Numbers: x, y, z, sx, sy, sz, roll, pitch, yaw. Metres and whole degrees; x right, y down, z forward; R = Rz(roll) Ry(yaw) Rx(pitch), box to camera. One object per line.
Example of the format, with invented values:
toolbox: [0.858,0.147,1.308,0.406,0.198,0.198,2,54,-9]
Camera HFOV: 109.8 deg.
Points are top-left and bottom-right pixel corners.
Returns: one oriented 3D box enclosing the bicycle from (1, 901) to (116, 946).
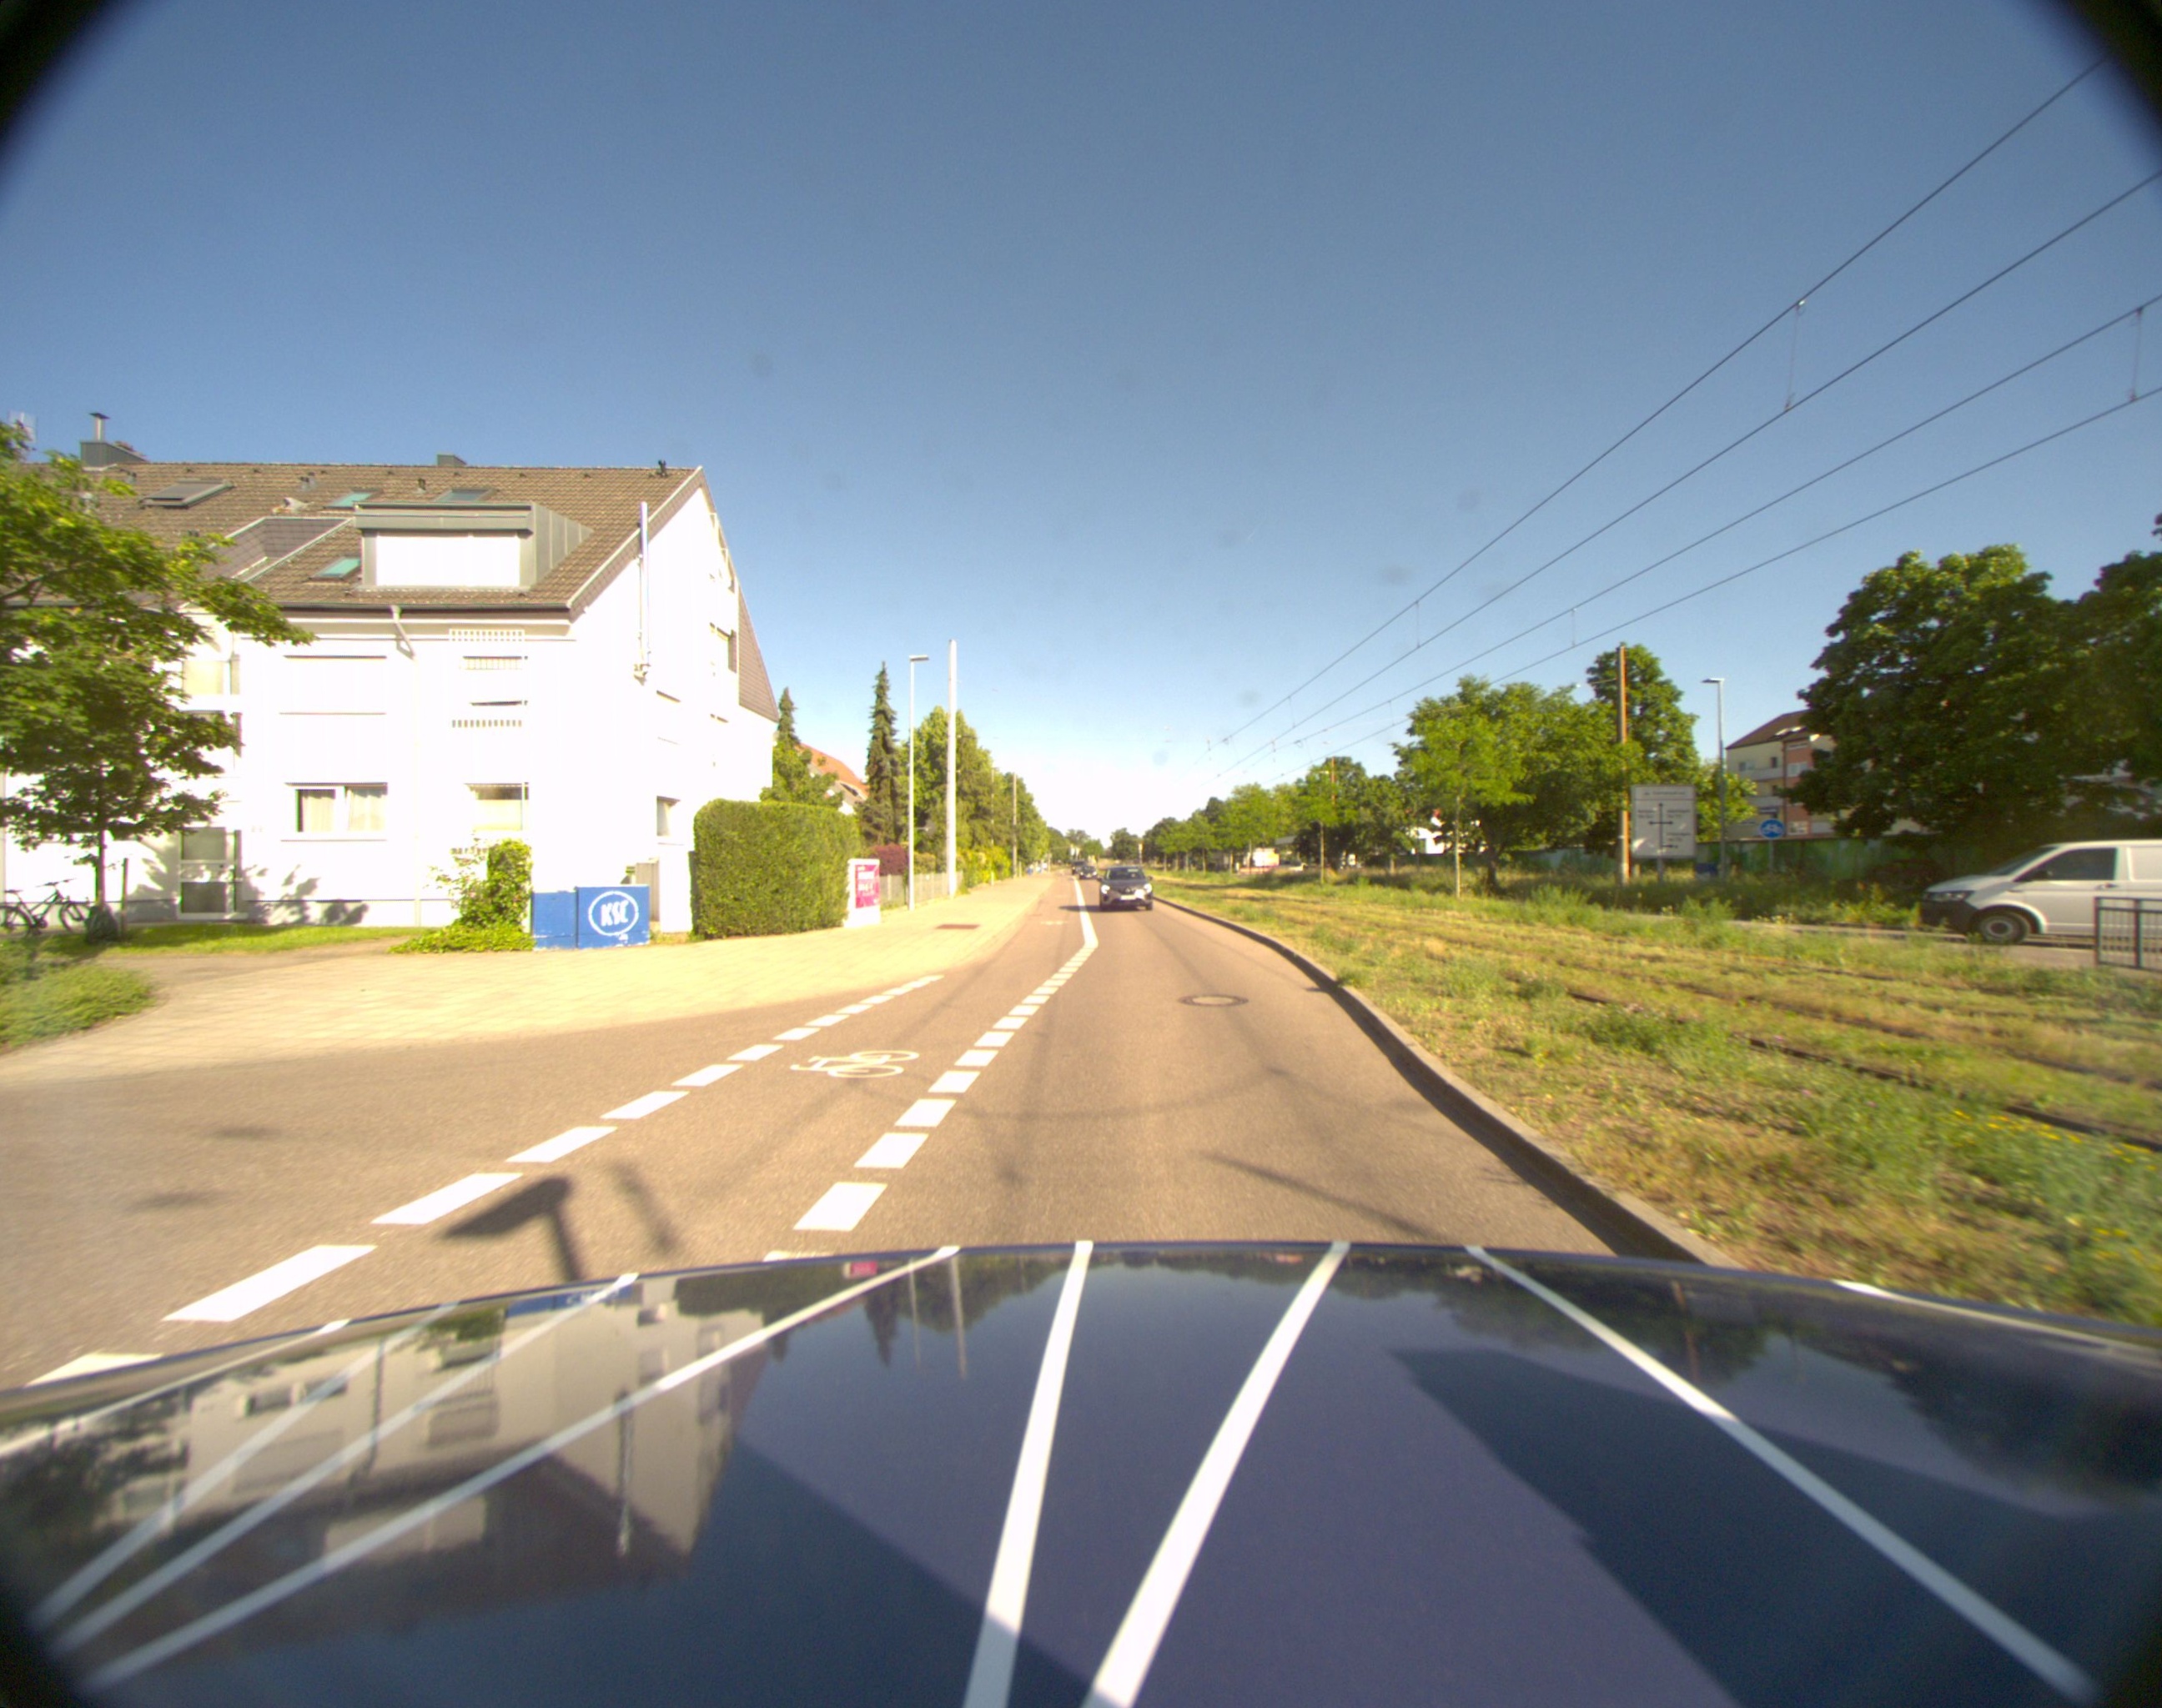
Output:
bicycle: [-18.158,1.217,13.535,0.308,0.674,1.421,-2,0,-10]

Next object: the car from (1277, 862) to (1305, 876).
car: [28.884,2.086,104.426,1.893,1.898,4.821,-2,-2,39]

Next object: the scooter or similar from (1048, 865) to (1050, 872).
scooter or similar: [-5.346,2.503,128.357,0.349,1.130,1.208,0,-1,-2]

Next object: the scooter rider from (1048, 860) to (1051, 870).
scooter rider: [-5.351,1.861,128.264,0.552,1.756,0.599,-1,0,-2]

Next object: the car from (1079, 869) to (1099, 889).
car: [0.814,2.507,77.412,1.998,1.823,4.000,-2,0,0]

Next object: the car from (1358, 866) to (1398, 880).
car: [33.337,2.156,85.321,3.827,1.500,1.705,-2,-1,0]

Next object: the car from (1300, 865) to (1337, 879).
car: [27.118,2.065,86.740,3.711,1.503,1.641,0,-1,-4]

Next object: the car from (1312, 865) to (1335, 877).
car: [31.986,2.244,100.188,2.022,1.499,4.898,0,1,27]

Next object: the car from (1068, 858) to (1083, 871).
car: [-0.801,1.592,112.045,1.998,1.823,4.000,-2,0,0]

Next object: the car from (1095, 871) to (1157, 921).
car: [1.545,1.466,27.530,1.868,1.614,4.000,-1,-1,-2]

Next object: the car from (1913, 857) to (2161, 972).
car: [18.431,1.012,13.482,4.688,1.903,1.908,-1,-1,39]
